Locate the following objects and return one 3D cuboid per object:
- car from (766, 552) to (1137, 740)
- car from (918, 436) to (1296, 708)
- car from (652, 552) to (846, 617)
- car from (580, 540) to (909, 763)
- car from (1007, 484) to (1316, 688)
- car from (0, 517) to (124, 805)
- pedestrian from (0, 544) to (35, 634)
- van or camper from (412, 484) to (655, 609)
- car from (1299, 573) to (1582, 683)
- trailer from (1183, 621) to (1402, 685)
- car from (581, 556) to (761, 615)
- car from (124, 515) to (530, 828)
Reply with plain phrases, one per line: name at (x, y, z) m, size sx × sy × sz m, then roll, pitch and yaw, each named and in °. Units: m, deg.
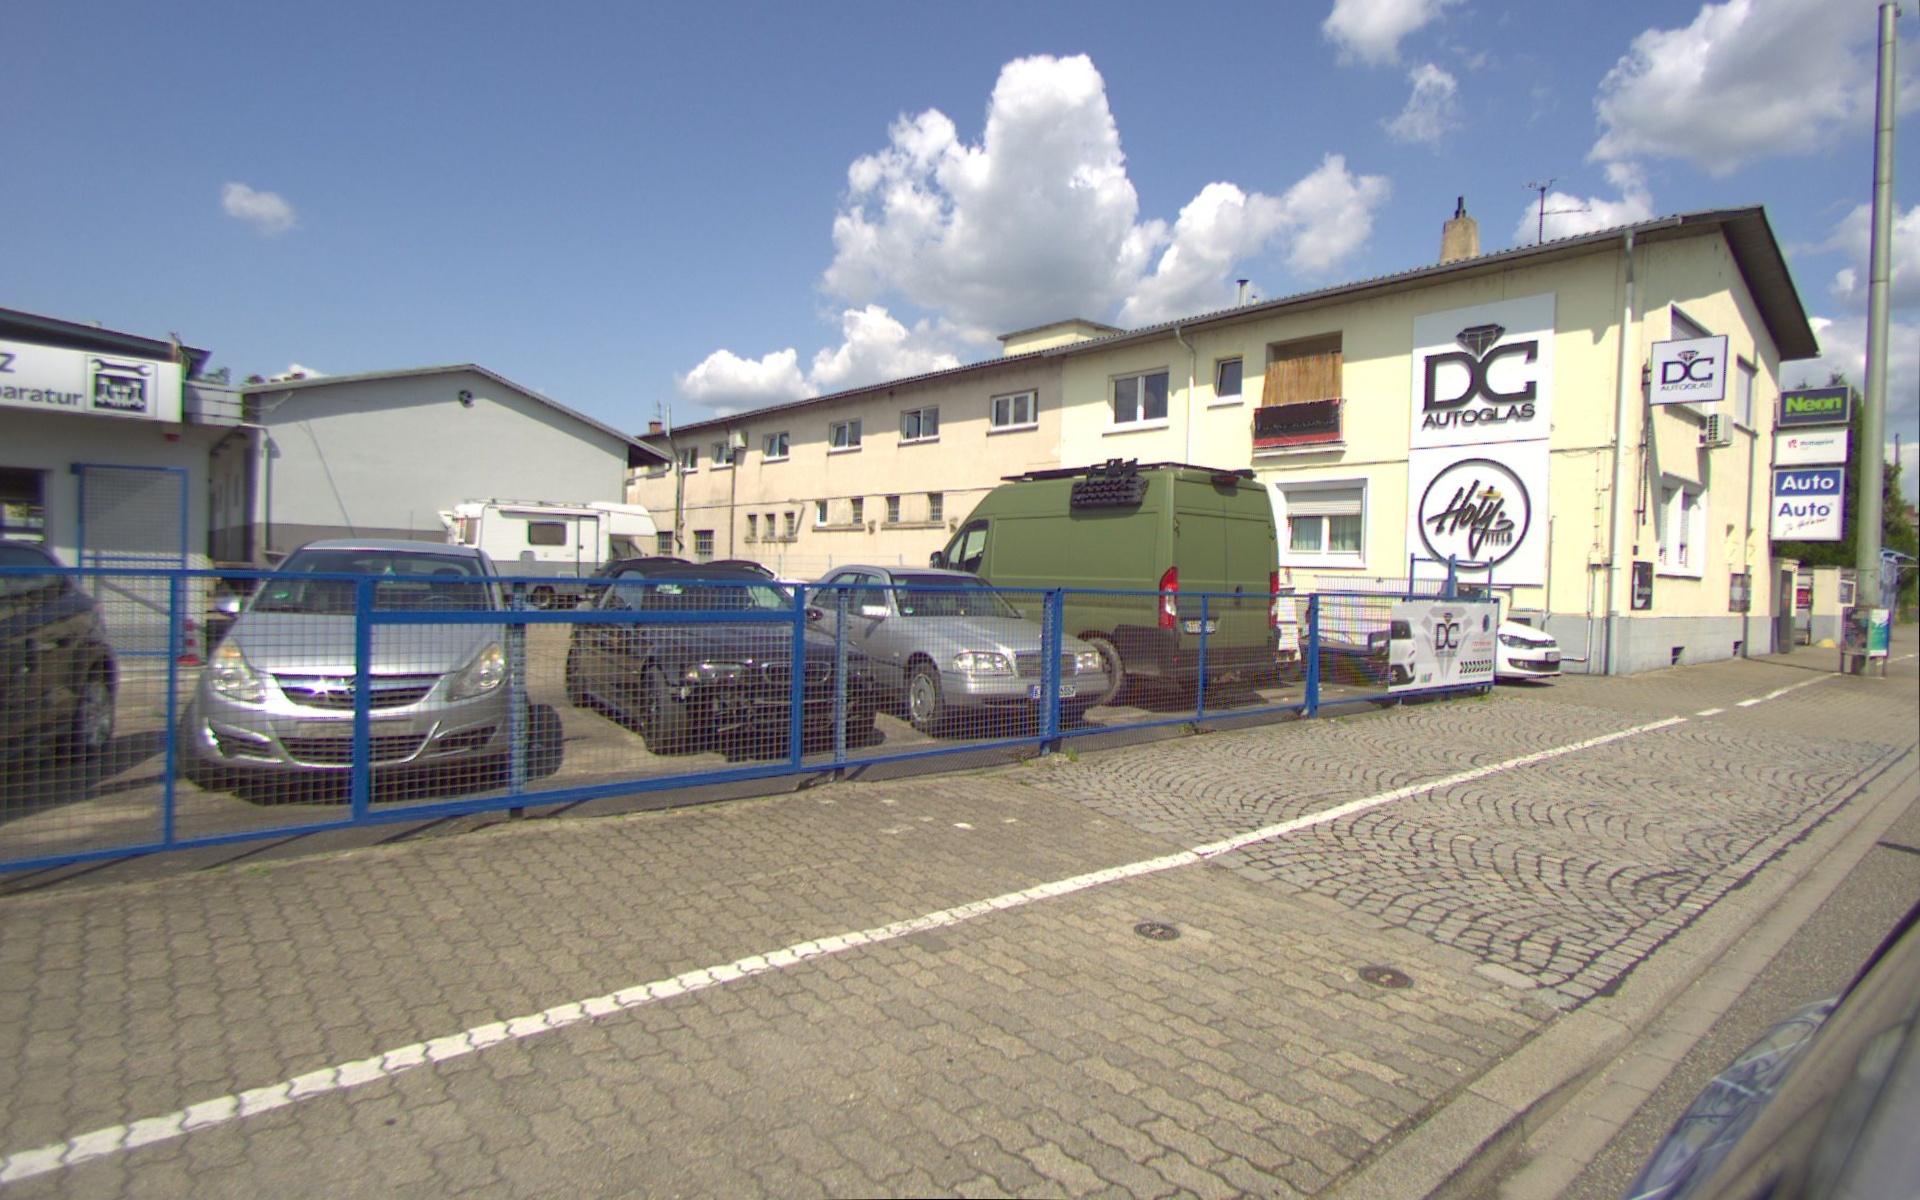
car at (-0.337, 0.286, 10.199) m, size 1.679 × 1.470 × 4.292 m, roll 1°, pitch 2°, yaw -33°
car at (1.589, -0.351, 12.252) m, size 2.075 × 2.675 × 4.208 m, roll 1°, pitch 2°, yaw -39°
car at (-4.841, -0.349, 23.544) m, size 4.112 × 1.378 × 1.645 m, roll 0°, pitch 2°, yaw -41°
car at (-2.127, 0.273, 8.893) m, size 1.737 × 1.470 × 4.128 m, roll 1°, pitch 2°, yaw -28°
car at (2.654, -0.247, 14.246) m, size 1.557 × 2.436 × 4.208 m, roll 1°, pitch 2°, yaw -39°
car at (-5.641, 0.303, 4.862) m, size 1.606 × 1.470 × 3.700 m, roll 1°, pitch 2°, yaw -25°
pedestrian at (-13.159, -0.157, 13.878) m, size 0.652 × 1.224 × 0.566 m, roll 1°, pitch 1°, yaw -39°
van or camper at (-11.301, -1.324, 27.107) m, size 5.556 × 3.002 × 2.272 m, roll 0°, pitch 2°, yaw -42°
car at (7.536, 0.360, 16.174) m, size 1.527 × 1.481 × 3.775 m, roll 1°, pitch 2°, yaw -39°
trailer at (4.751, 0.724, 14.646) m, size 1.307 × 0.674 × 2.730 m, roll 0°, pitch 2°, yaw -42°
car at (-7.304, -0.359, 25.807) m, size 4.112 × 1.378 × 1.645 m, roll 0°, pitch 2°, yaw -41°
car at (-3.897, 0.280, 6.837) m, size 1.736 × 1.470 × 3.778 m, roll 1°, pitch 2°, yaw -24°
